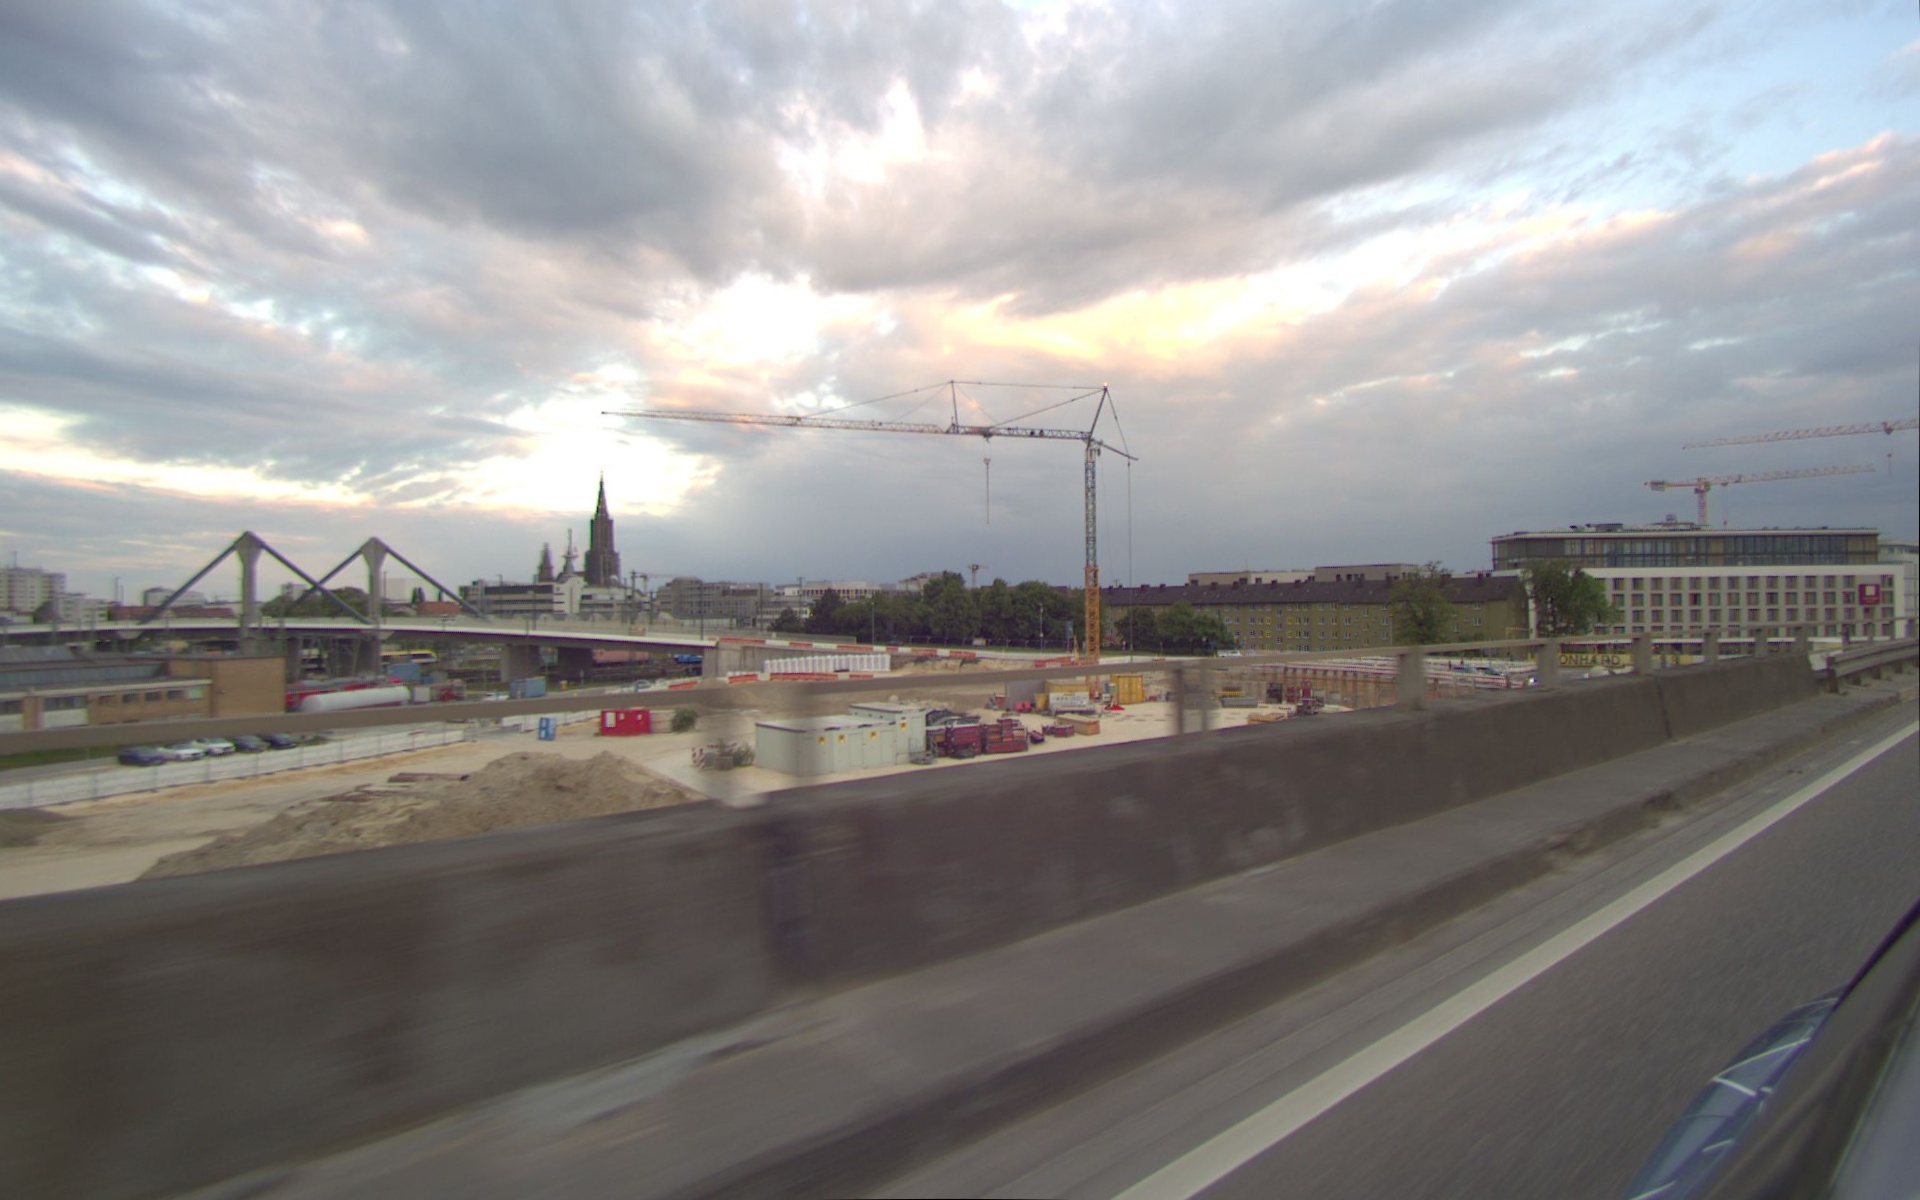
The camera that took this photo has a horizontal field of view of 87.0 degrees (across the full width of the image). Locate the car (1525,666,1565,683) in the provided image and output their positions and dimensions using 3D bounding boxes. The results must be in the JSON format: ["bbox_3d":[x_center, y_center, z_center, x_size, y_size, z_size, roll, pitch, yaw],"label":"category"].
[{"bbox_3d":[67.350,8.601,116.580,1.611,1.761,3.800,-1,-2,-24],"label":"car"}]

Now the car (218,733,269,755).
[{"bbox_3d":[-65.411,13.123,92.387,3.947,1.674,1.859,-6,-6,18],"label":"car"}]

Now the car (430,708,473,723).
[{"bbox_3d":[-58.624,13.301,116.659,4.280,1.540,1.863,-3,-1,15],"label":"car"}]

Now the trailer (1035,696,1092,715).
[{"bbox_3d":[8.237,8.462,81.020,4.164,1.257,1.787,-1,-2,-12],"label":"trailer"}]

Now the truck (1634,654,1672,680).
[{"bbox_3d":[85.620,8.269,125.062,7.211,2.987,2.159,1,-4,-43],"label":"truck"}]

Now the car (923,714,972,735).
[{"bbox_3d":[-1.034,10.166,82.781,3.719,1.461,1.530,-3,-6,-11],"label":"car"}]

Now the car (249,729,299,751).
[{"bbox_3d":[-64.295,13.101,94.834,3.947,1.674,1.859,-6,-6,18],"label":"car"}]

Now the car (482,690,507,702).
[{"bbox_3d":[-64.005,13.183,139.165,1.415,1.597,3.673,-5,-5,8],"label":"car"}]

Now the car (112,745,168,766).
[{"bbox_3d":[-68.862,13.044,84.970,3.947,1.439,1.859,-6,-6,18],"label":"car"}]

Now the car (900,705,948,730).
[{"bbox_3d":[-3.219,10.394,89.807,3.918,1.948,1.686,-3,-6,-11],"label":"car"}]

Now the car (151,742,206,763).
[{"bbox_3d":[-67.563,13.175,87.508,3.947,1.439,1.859,-6,-6,18],"label":"car"}]

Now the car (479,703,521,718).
[{"bbox_3d":[-55.166,13.265,121.376,4.280,1.540,1.863,-3,-1,15],"label":"car"}]

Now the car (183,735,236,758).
[{"bbox_3d":[-66.836,13.039,90.114,3.947,1.738,1.859,-6,-6,18],"label":"car"}]

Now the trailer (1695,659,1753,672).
[{"bbox_3d":[98.084,8.452,130.079,5.833,1.365,2.002,0,0,35],"label":"trailer"}]
